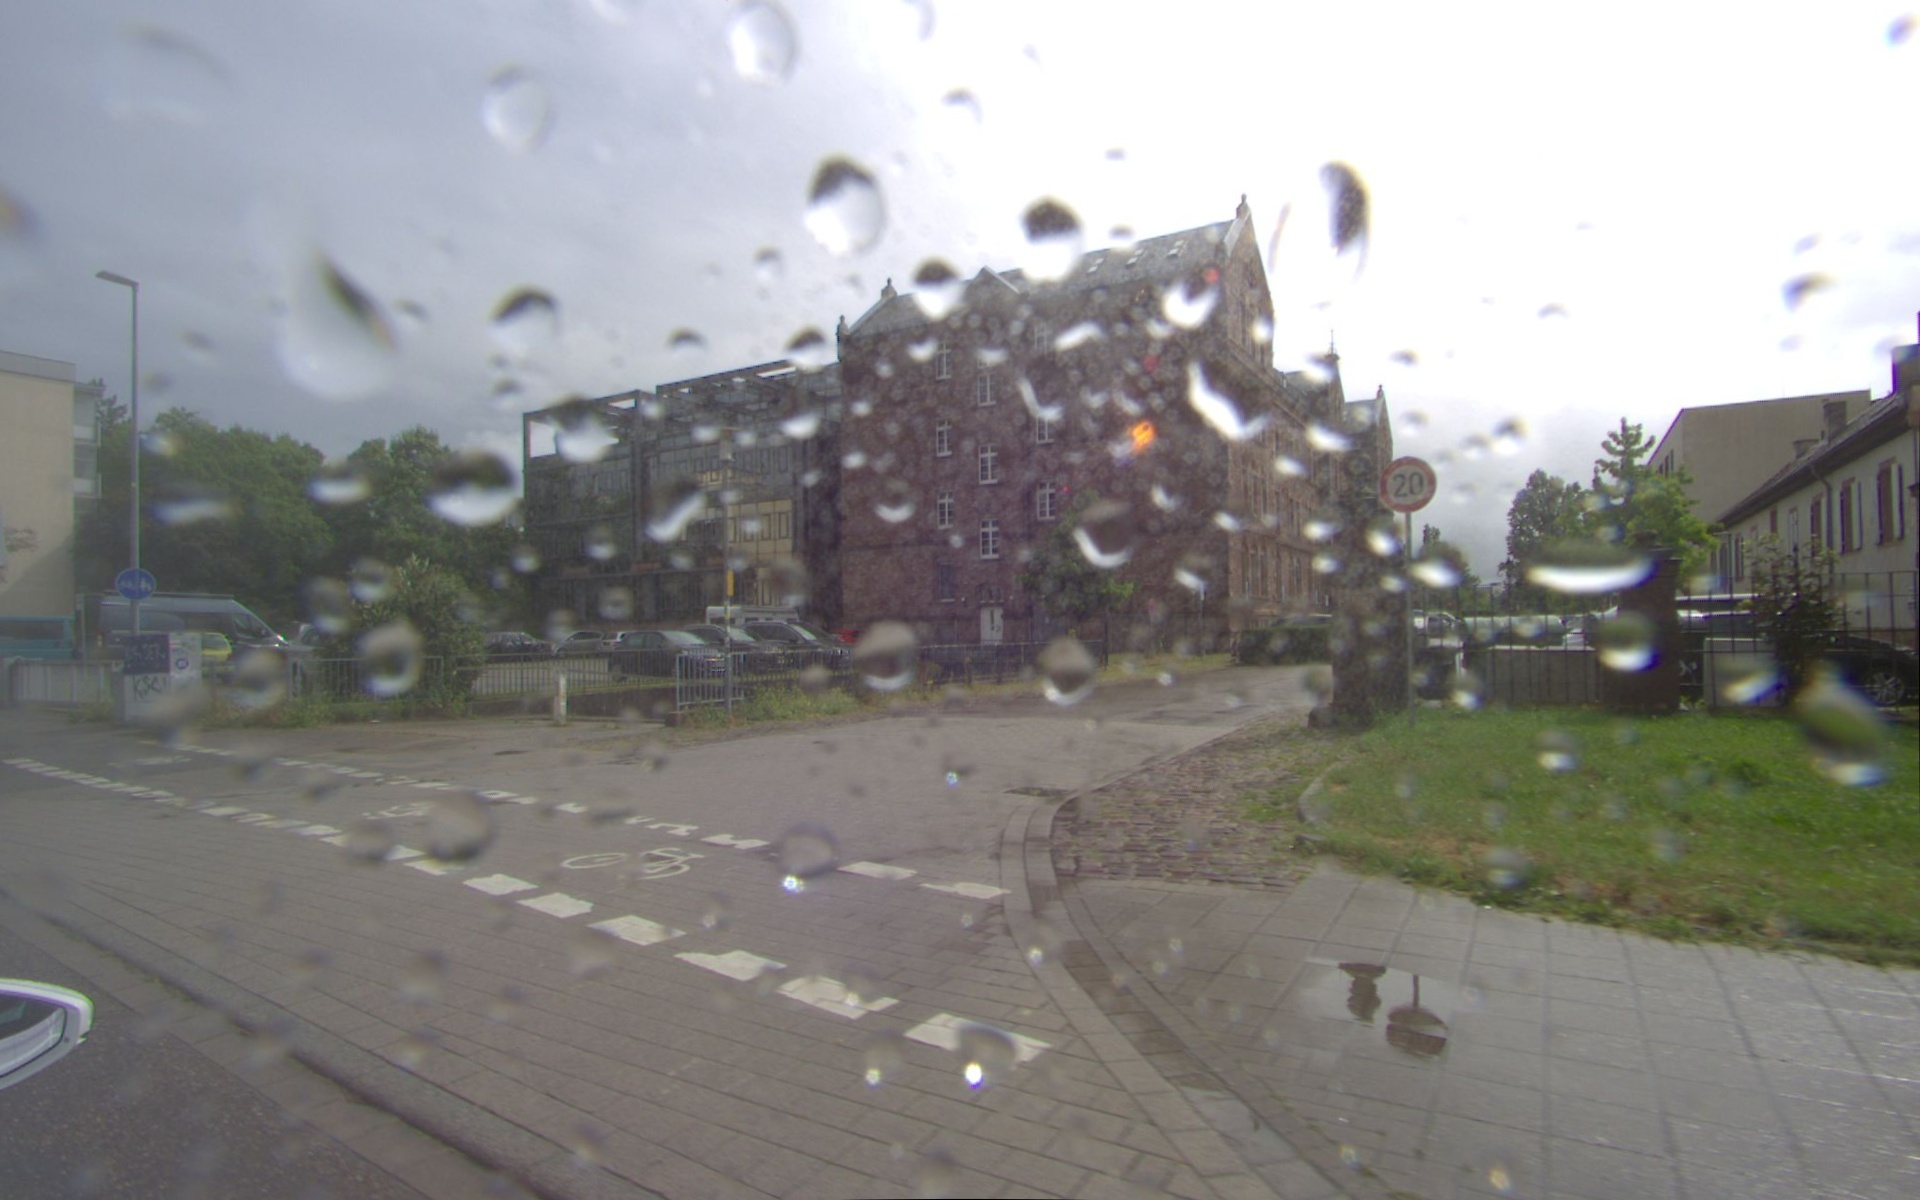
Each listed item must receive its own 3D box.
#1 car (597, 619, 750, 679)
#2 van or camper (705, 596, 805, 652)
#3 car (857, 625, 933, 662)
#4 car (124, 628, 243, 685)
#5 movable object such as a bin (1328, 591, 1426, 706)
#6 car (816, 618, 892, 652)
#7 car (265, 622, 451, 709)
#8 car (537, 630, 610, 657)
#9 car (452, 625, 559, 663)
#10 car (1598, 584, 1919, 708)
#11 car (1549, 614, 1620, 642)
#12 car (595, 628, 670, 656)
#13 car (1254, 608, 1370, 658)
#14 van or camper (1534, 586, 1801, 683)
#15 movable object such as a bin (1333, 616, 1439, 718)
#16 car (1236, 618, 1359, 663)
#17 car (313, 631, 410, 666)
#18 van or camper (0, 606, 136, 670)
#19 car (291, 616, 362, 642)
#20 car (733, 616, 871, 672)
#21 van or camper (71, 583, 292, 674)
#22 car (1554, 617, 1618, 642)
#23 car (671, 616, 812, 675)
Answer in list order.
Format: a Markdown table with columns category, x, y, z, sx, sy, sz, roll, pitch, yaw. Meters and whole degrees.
| category | x | y | z | sx | sy | sz | roll | pitch | yaw |
| --- | --- | --- | --- | --- | --- | --- | --- | --- | --- |
| car | -8.136 | 1.370 | 28.313 | 4.364 | 1.546 | 1.824 | -2 | -1 | 35 |
| van or camper | -9.945 | 1.237 | 48.949 | 2.225 | 2.516 | 4.784 | -2 | -4 | 29 |
| car | -2.935 | 1.967 | 45.975 | 1.649 | 1.544 | 3.660 | -2 | -1 | 32 |
| car | -21.650 | 1.541 | 27.901 | 3.369 | 1.467 | 1.607 | -2 | -1 | 33 |
| movable object such as a bin | 5.601 | 0.629 | 13.441 | 1.081 | 1.476 | 0.798 | -1 | 0 | 31 |
| car | -4.964 | 1.702 | 47.300 | 1.649 | 1.504 | 3.662 | -2 | -4 | 31 |
| car | -13.630 | 1.433 | 22.629 | 4.175 | 1.772 | 1.801 | -2 | -1 | 30 |
| car | -22.014 | 2.466 | 57.092 | 1.649 | 1.505 | 3.660 | -2 | -2 | 31 |
| car | -19.602 | 1.872 | 43.358 | 1.649 | 1.484 | 3.967 | -2 | -1 | 31 |
| car | 12.557 | 0.726 | 15.760 | 4.183 | 1.743 | 1.708 | -2 | -3 | 32 |
| car | 36.330 | 1.635 | 58.328 | 3.433 | 1.488 | 1.679 | -3 | -4 | 32 |
| car | -17.765 | 2.264 | 54.414 | 1.649 | 1.505 | 3.660 | -2 | -2 | 31 |
| car | 13.065 | 1.278 | 37.203 | 3.754 | 1.712 | 1.751 | -3 | -4 | 33 |
| van or camper | 16.902 | 0.819 | 24.291 | 5.111 | 2.145 | 1.785 | -1 | 0 | 32 |
| movable object such as a bin | 6.645 | 1.010 | 15.600 | 1.370 | 1.476 | 1.104 | -1 | 0 | 31 |
| car | 11.735 | 1.453 | 34.872 | 3.754 | 1.470 | 1.751 | -3 | -4 | 33 |
| car | -28.571 | 2.298 | 47.911 | 1.617 | 1.506 | 3.658 | -2 | -1 | 33 |
| van or camper | -32.939 | 1.354 | 35.954 | 2.290 | 2.159 | 4.749 | -1 | -2 | 33 |
| car | -37.430 | 1.707 | 59.189 | 1.488 | 1.415 | 3.218 | -2 | -1 | 33 |
| car | -5.244 | 1.443 | 33.087 | 4.361 | 1.701 | 1.849 | -2 | -1 | 33 |
| van or camper | -23.962 | 0.911 | 31.041 | 2.144 | 2.586 | 4.991 | -3 | -3 | 31 |
| car | 40.401 | 1.923 | 64.697 | 3.433 | 1.488 | 1.679 | -3 | -4 | 32 |
| car | -6.808 | 1.389 | 31.016 | 4.366 | 1.701 | 1.847 | -2 | -1 | 36 |
